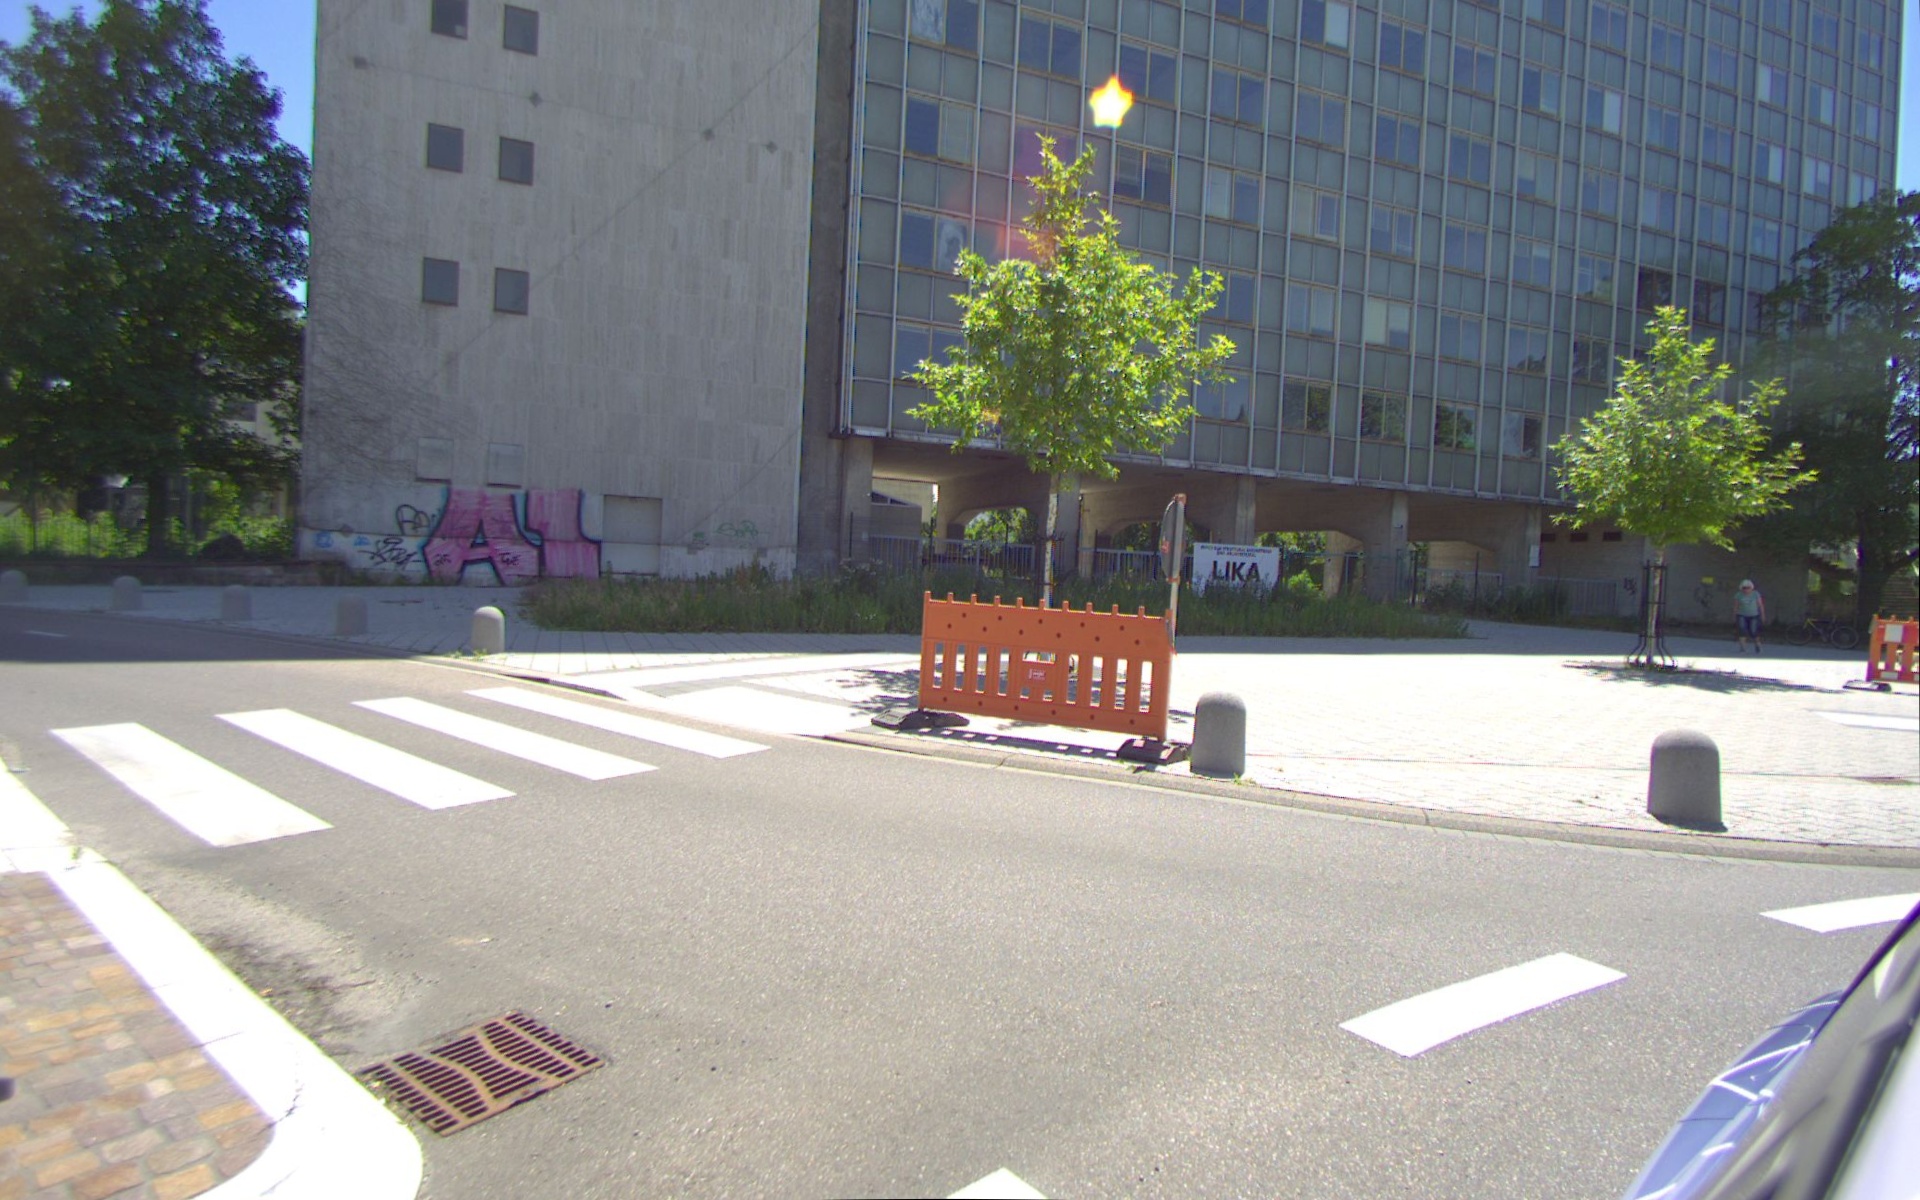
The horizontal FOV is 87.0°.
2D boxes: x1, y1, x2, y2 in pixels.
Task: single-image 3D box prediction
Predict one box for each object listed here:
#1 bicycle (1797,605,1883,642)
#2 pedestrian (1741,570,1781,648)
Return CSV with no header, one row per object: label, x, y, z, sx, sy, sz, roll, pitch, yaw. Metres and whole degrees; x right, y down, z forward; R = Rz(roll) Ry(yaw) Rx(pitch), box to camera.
bicycle,24.701,0.647,28.435,0.440,0.918,1.752,1,2,-41
pedestrian,18.417,0.197,23.285,0.563,1.728,0.480,6,4,37
